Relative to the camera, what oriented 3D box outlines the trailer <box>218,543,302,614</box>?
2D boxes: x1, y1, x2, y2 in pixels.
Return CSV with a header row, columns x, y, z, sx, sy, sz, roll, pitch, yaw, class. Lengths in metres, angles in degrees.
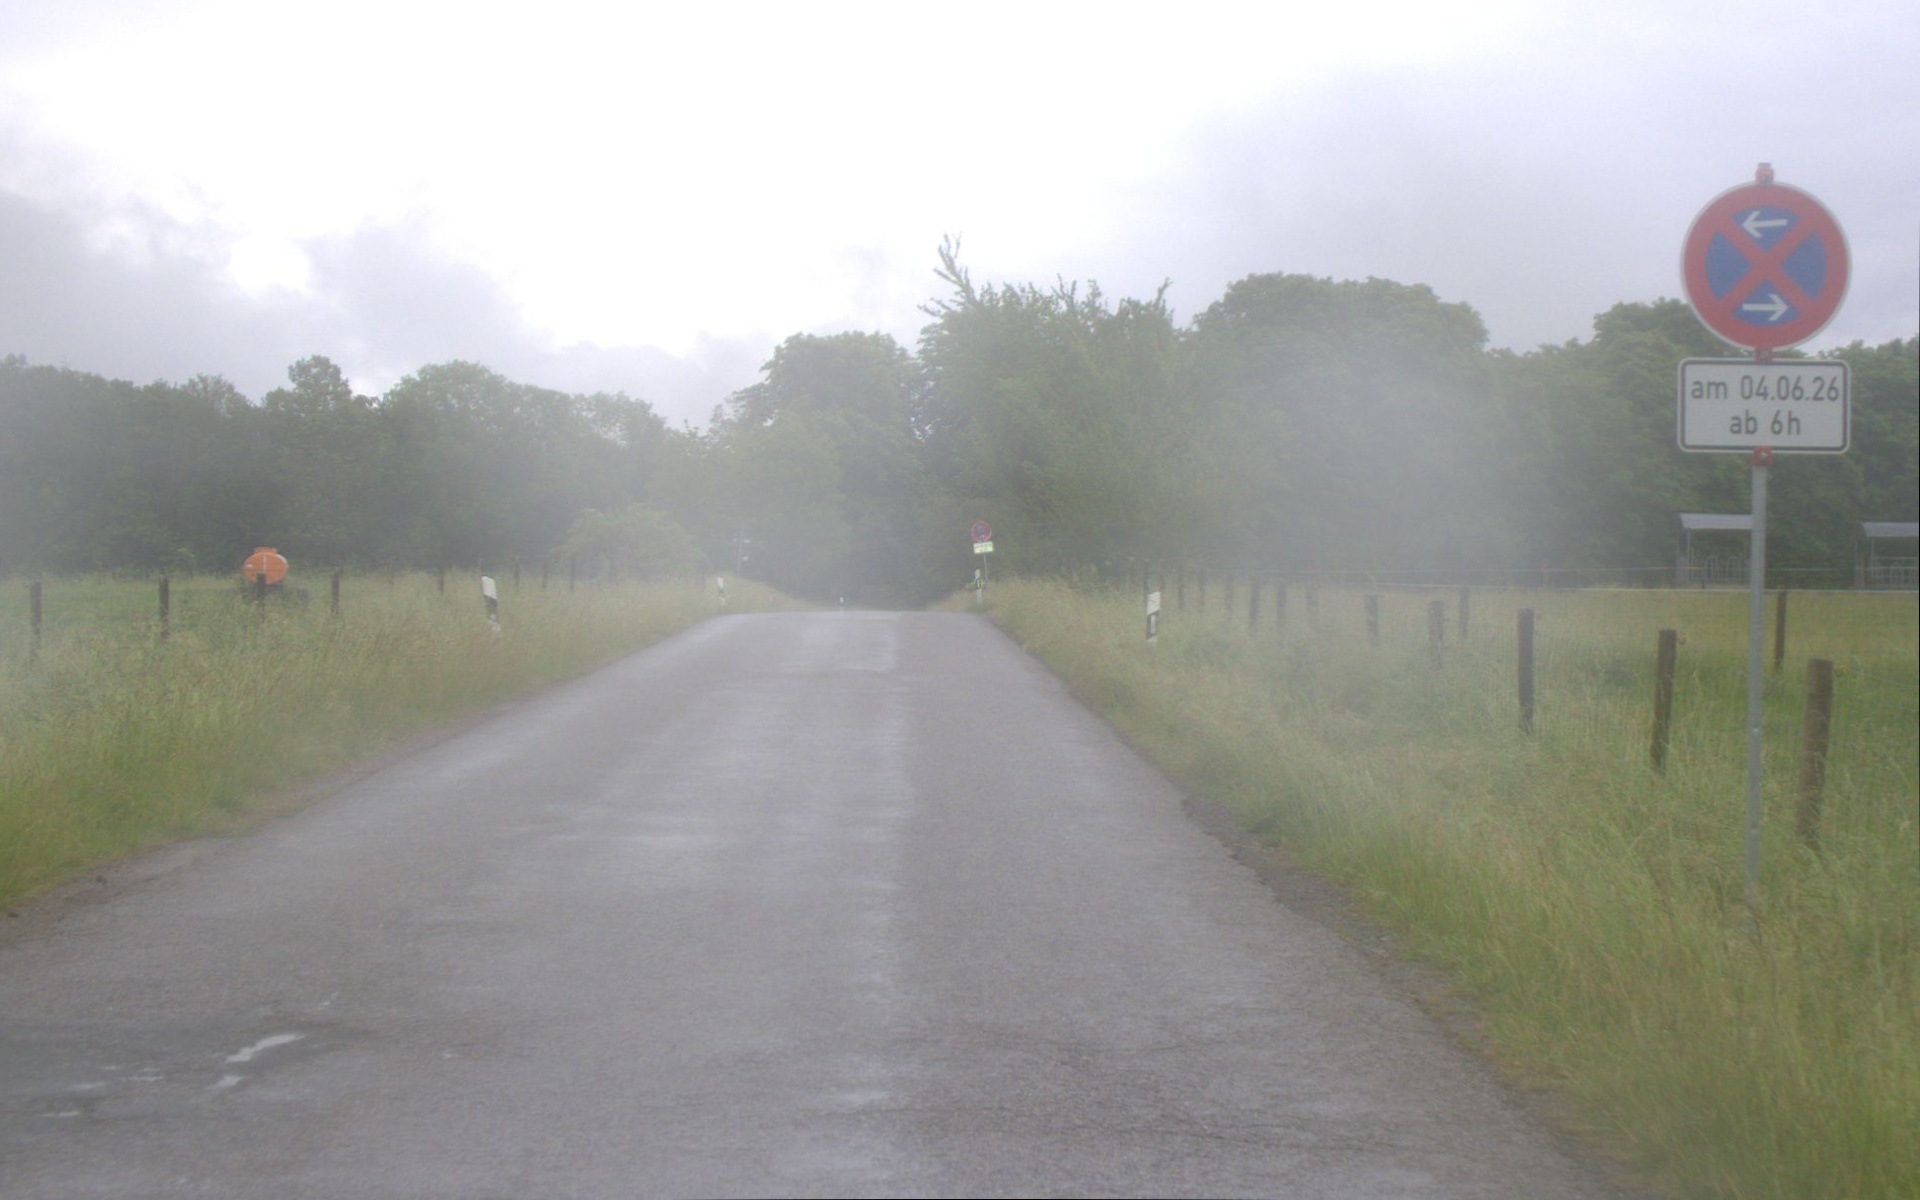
x,y,z,sx,sy,sz,roll,pitch,yaw,class
-15.130,-0.484,74.321,1.751,1.499,3.091,0,1,-11,trailer
